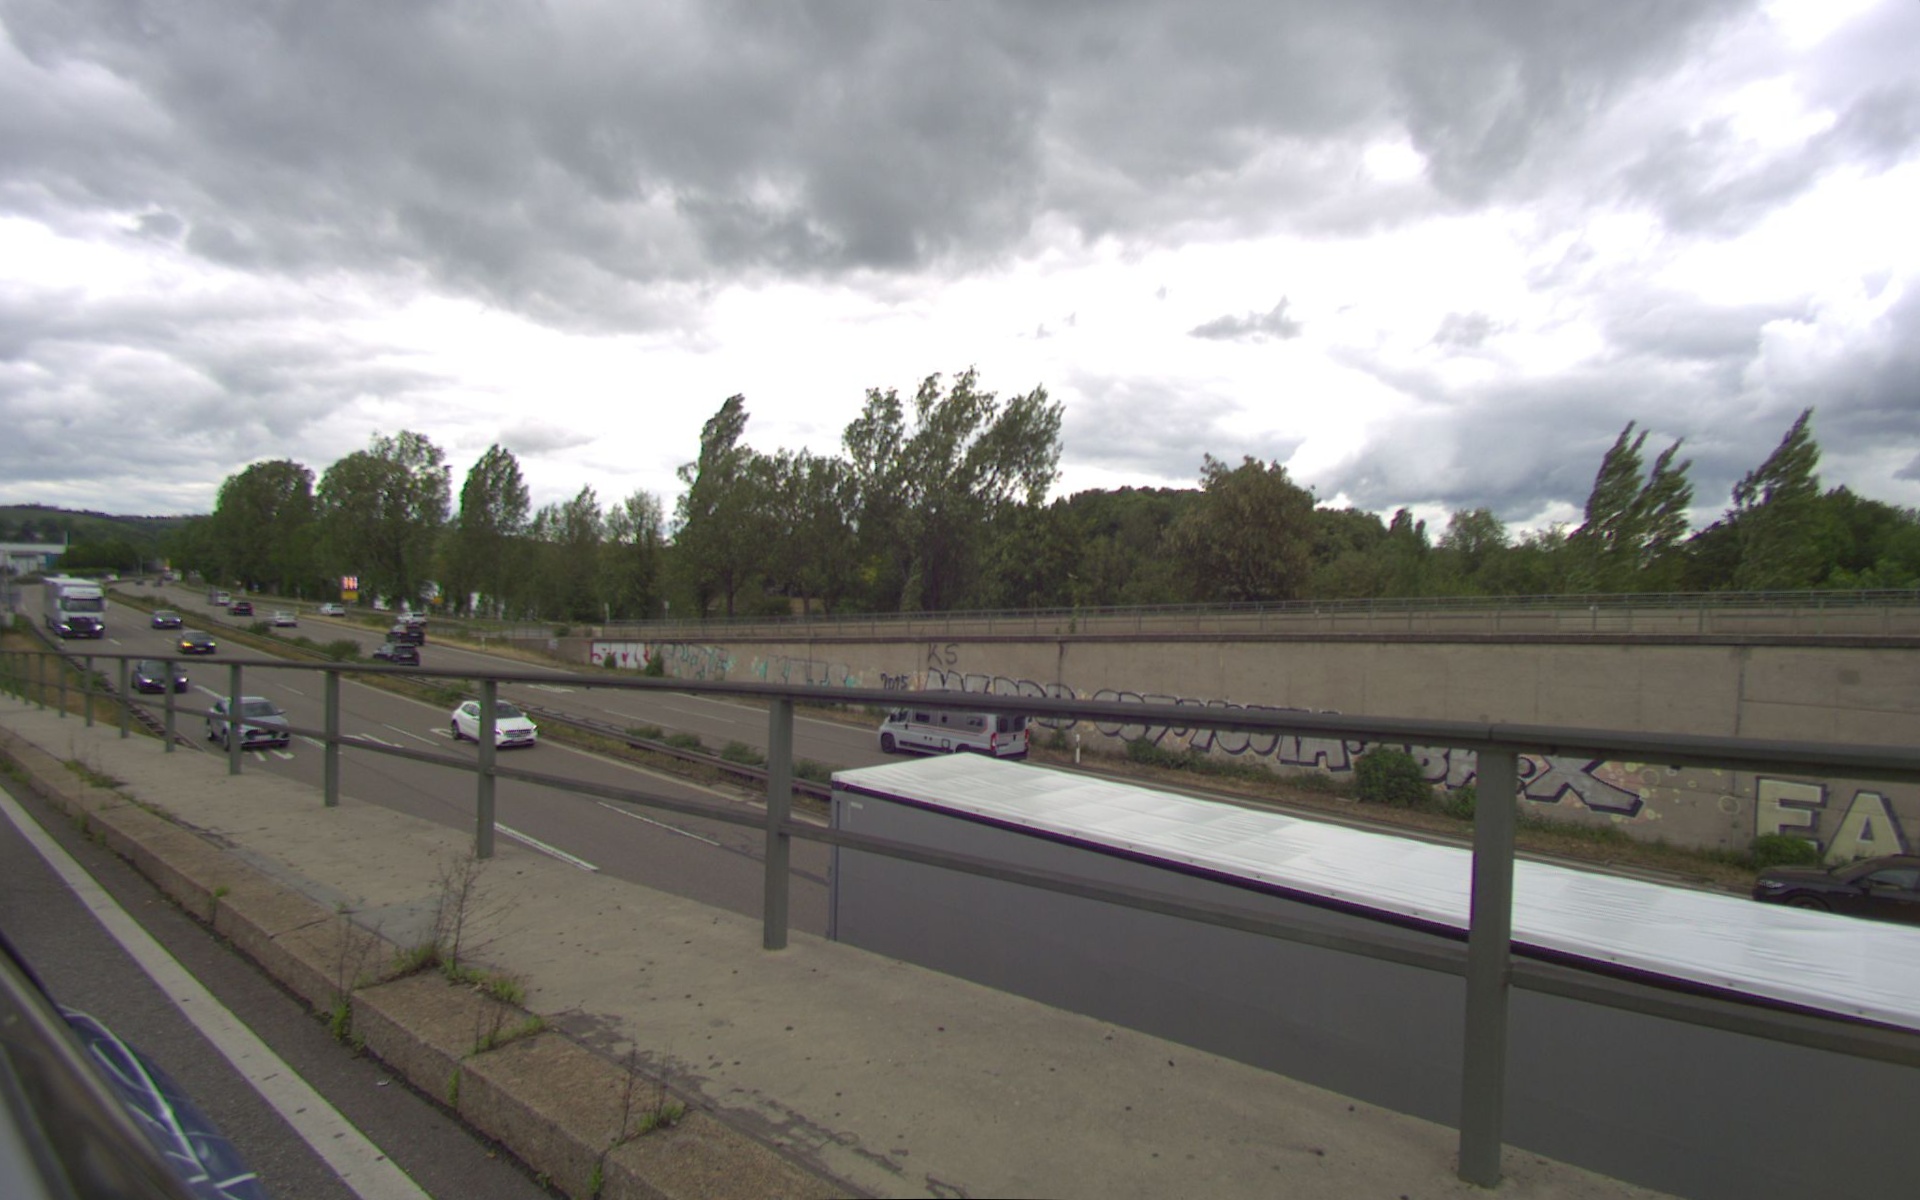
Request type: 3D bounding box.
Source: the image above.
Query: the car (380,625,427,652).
[{"bbox_3d":[-44.670,3.061,81.249,4.408,1.855,1.911,2,1,41],"label":"car"}]

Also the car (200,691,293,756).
[{"bbox_3d":[-24.957,4.254,35.330,4.166,1.619,1.834,2,1,43],"label":"car"}]

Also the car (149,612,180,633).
[{"bbox_3d":[-69.858,1.987,88.871,1.832,1.619,4.171,1,1,-42],"label":"car"}]

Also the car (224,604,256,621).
[{"bbox_3d":[-82.178,1.457,115.460,4.550,1.751,1.896,2,0,40],"label":"car"}]

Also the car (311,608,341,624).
[{"bbox_3d":[-77.196,1.928,123.233,4.211,1.884,1.973,-2,-1,41],"label":"car"}]

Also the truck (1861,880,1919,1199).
[{"bbox_3d":[8.603,4.396,4.625,6.699,4.283,2.721,2,0,43],"label":"truck"}]

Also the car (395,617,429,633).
[{"bbox_3d":[-56.802,2.597,104.864,4.347,1.588,1.812,-2,-2,44],"label":"car"}]

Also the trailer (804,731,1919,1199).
[{"bbox_3d":[3.873,4.180,8.998,13.152,4.283,2.721,2,0,43],"label":"trailer"}]

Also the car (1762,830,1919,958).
[{"bbox_3d":[19.379,6.144,20.675,4.588,1.764,1.973,1,1,41],"label":"car"}]

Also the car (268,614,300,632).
[{"bbox_3d":[-65.329,2.217,97.759,4.089,1.539,1.709,2,0,45],"label":"car"}]

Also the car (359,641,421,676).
[{"bbox_3d":[-35.486,3.591,62.982,4.422,1.855,1.973,2,0,41],"label":"car"}]

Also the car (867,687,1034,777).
[{"bbox_3d":[-0.458,4.813,37.856,6.322,2.553,2.063,2,0,39],"label":"car"}]

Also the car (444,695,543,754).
[{"bbox_3d":[-17.333,4.549,37.502,4.166,1.619,1.834,2,0,43],"label":"car"}]

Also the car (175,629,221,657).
[{"bbox_3d":[-51.206,2.861,67.973,4.168,1.619,1.833,2,0,45],"label":"car"}]

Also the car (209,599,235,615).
[{"bbox_3d":[-102.818,0.915,140.941,5.177,2.082,1.972,2,1,42],"label":"car"}]

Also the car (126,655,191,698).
[{"bbox_3d":[-38.371,3.603,48.424,4.166,1.619,1.834,2,1,43],"label":"car"}]

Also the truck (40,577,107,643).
[{"bbox_3d":[-68.549,0.636,78.153,11.131,4.559,3.136,3,1,45],"label":"truck"}]
